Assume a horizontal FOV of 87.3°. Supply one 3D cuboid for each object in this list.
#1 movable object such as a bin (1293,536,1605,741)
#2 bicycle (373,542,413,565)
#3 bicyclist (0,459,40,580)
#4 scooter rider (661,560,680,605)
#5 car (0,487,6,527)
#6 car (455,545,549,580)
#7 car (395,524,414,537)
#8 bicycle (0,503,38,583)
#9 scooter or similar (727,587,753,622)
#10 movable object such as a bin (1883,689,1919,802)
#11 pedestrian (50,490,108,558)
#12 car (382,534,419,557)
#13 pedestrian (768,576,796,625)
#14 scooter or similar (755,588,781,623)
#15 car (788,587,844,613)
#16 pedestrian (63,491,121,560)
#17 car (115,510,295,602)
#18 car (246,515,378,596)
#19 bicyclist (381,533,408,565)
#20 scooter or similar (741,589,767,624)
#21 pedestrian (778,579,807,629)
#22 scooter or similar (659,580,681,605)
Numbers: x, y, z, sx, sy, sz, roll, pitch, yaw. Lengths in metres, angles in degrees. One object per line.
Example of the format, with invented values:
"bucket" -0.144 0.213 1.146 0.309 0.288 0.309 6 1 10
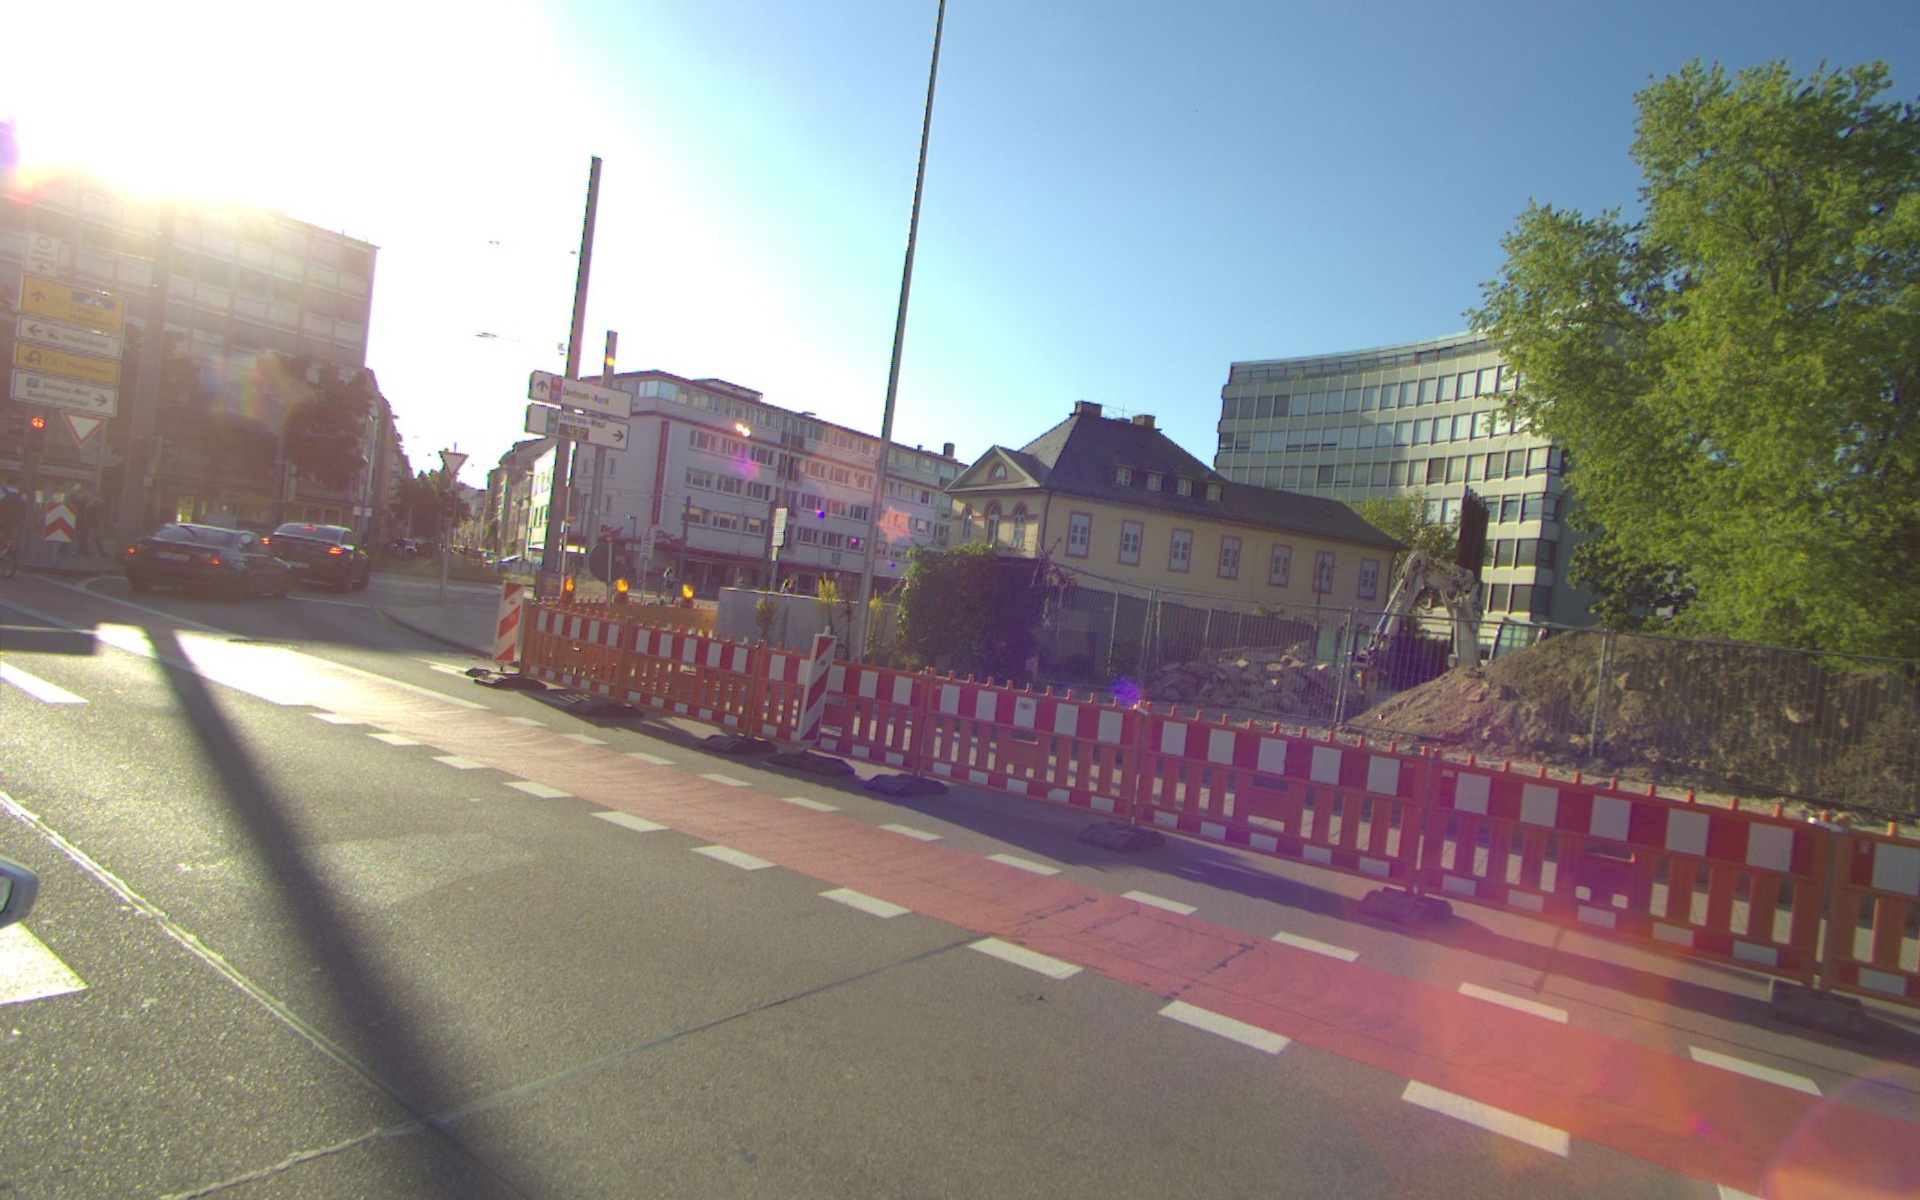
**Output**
"movable object such as a bin" 10.451 0.855 21.389 6.017 3.602 2.838 7 0 -31
"bicycle" -34.254 -2.801 60.826 0.666 1.112 1.976 7 0 30
"bicyclist" -17.015 -1.463 17.821 1.050 2.037 0.644 9 0 34
"scooter rider" -12.897 -0.784 44.846 0.492 1.944 0.533 7 1 -2
"car" -41.762 -4.096 40.629 1.969 1.616 4.331 7 0 36
"car" -28.439 -2.332 62.537 4.904 1.497 1.976 8 0 -43
"car" -70.511 -8.839 127.800 1.977 1.415 3.969 6 0 -29
"bicycle" -17.196 -1.079 17.893 2.015 1.238 0.645 9 0 35
"scooter or similar" -8.734 0.183 39.864 0.563 1.274 1.335 6 0 -26
"movable object such as a bin" 21.412 3.137 20.900 2.188 2.350 5.037 1 -3 30
"pedestrian" -22.739 -1.951 25.960 0.644 1.617 0.879 7 1 31
"car" -42.703 -4.143 76.776 1.981 1.415 3.962 6 0 -35
"pedestrian" -7.038 0.026 39.807 0.587 1.847 0.727 7 1 24
"scooter or similar" -7.759 0.225 40.599 0.563 1.274 1.335 6 0 -26
"car" -11.974 0.032 83.784 1.972 1.597 4.304 7 0 40
"pedestrian" -22.119 -1.881 25.639 0.644 1.617 0.879 7 1 31
"car" -14.899 -0.841 20.112 1.725 1.444 3.981 7 -1 -21
"car" -17.239 -1.181 27.004 1.973 1.713 3.981 9 -1 -21
"bicyclist" -34.202 -3.100 60.851 0.666 1.760 1.041 7 1 30
"scooter or similar" -8.230 0.260 40.166 0.563 1.274 1.335 6 0 -26
"pedestrian" -6.546 0.155 39.348 0.587 1.847 0.727 7 1 24
"scooter or similar" -12.943 -0.327 44.879 0.485 1.046 1.386 7 0 -1
